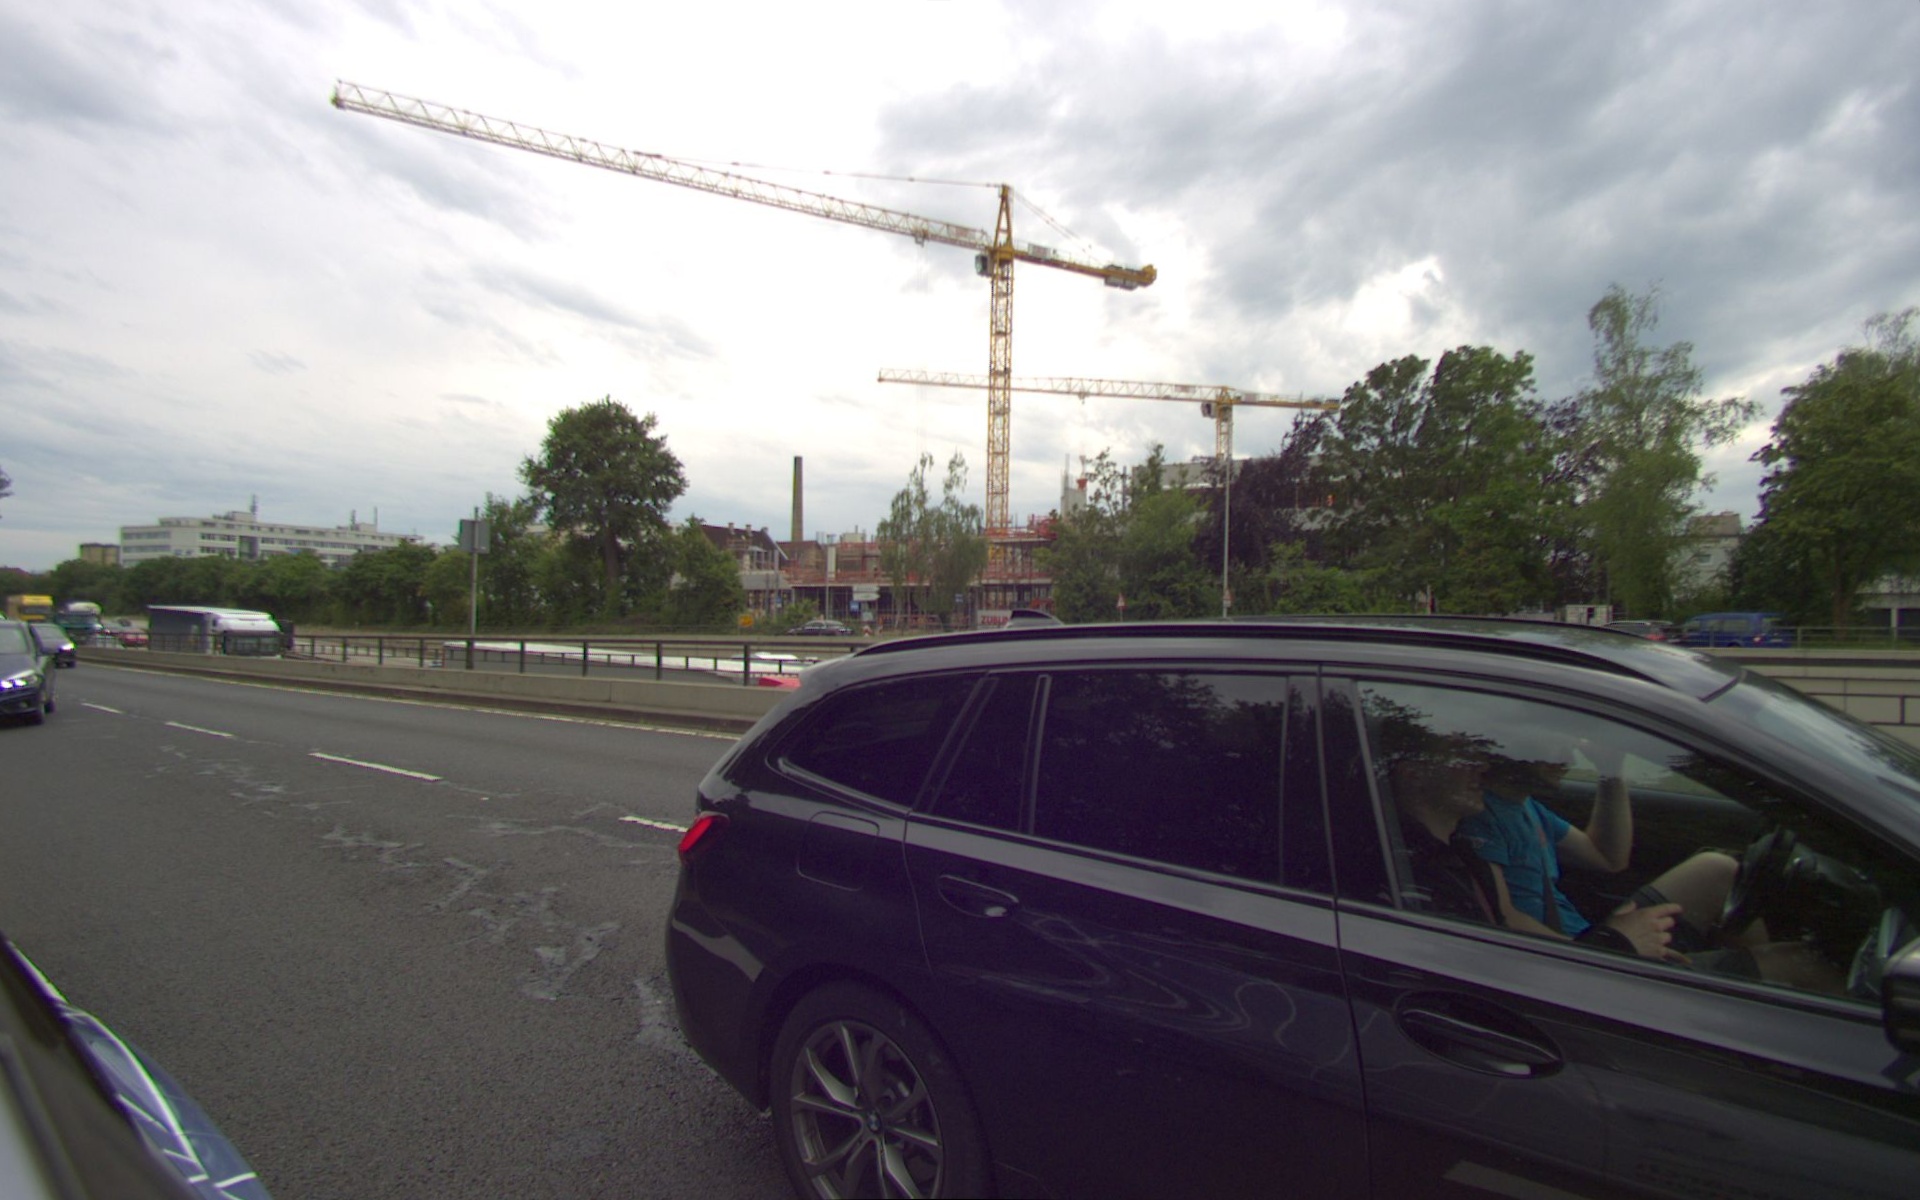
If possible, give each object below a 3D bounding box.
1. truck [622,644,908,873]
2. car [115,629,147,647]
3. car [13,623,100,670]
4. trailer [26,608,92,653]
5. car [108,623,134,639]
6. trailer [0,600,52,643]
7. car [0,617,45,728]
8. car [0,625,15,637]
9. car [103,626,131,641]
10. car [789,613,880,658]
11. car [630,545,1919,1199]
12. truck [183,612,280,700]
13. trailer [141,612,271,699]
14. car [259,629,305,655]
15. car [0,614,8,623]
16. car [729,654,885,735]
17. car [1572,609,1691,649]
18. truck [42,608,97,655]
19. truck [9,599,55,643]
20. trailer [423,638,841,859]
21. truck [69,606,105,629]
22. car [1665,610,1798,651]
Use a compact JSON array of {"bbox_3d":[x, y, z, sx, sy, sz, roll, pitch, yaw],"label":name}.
[{"bbox_3d":[-4.325,3.065,21.794,6.196,4.067,2.678,0,-2,39],"label":"truck"},{"bbox_3d":[-72.024,3.303,87.867,3.999,1.452,1.606,-1,0,42],"label":"car"},{"bbox_3d":[-30.946,1.543,34.634,3.997,1.452,1.681,-1,0,40],"label":"car"},{"bbox_3d":[-78.155,2.524,87.607,16.748,3.668,2.579,-1,-2,43],"label":"trailer"},{"bbox_3d":[-114.105,4.191,137.555,5.484,2.029,1.972,-1,-1,42],"label":"car"},{"bbox_3d":[-102.303,2.251,110.374,19.920,4.387,2.859,-1,-2,43],"label":"trailer"},{"bbox_3d":[-15.732,1.080,15.919,4.424,1.575,1.760,-1,0,45],"label":"car"},{"bbox_3d":[-116.164,3.755,123.040,3.999,1.452,1.606,-1,0,42],"label":"car"},{"bbox_3d":[-85.003,3.370,102.050,3.999,1.452,1.606,-1,0,42],"label":"car"},{"bbox_3d":[-7.307,2.044,58.641,5.221,2.479,2.312,-1,-1,39],"label":"car"},{"bbox_3d":[1.425,0.672,2.006,4.454,1.437,1.732,-2,-2,37],"label":"car"},{"bbox_3d":[-35.720,2.626,49.535,6.094,4.067,2.498,-1,-2,41],"label":"truck"},{"bbox_3d":[-39.964,2.670,53.314,14.779,4.067,2.498,-1,-2,42],"label":"trailer"},{"bbox_3d":[-56.535,3.491,84.342,5.486,2.029,1.972,-1,-1,43],"label":"car"},{"bbox_3d":[-159.480,3.074,167.688,3.996,1.564,1.974,-1,0,39],"label":"car"},{"bbox_3d":[-6.861,4.036,44.646,7.506,3.052,2.483,-1,-1,40],"label":"car"},{"bbox_3d":[26.515,1.109,40.121,1.603,1.452,4.008,-1,0,-9],"label":"car"},{"bbox_3d":[-72.689,2.523,82.551,6.667,3.663,2.610,-1,-2,43],"label":"truck"},{"bbox_3d":[-95.509,2.144,104.153,6.518,4.377,2.855,-1,-2,42],"label":"truck"},{"bbox_3d":[-9.048,3.135,25.655,14.541,4.067,2.625,0,-2,40],"label":"trailer"},{"bbox_3d":[-154.647,3.076,179.143,13.774,4.067,3.029,-1,-2,42],"label":"truck"},{"bbox_3d":[29.409,1.127,38.748,1.603,1.452,4.008,-1,0,-9],"label":"car"}]
